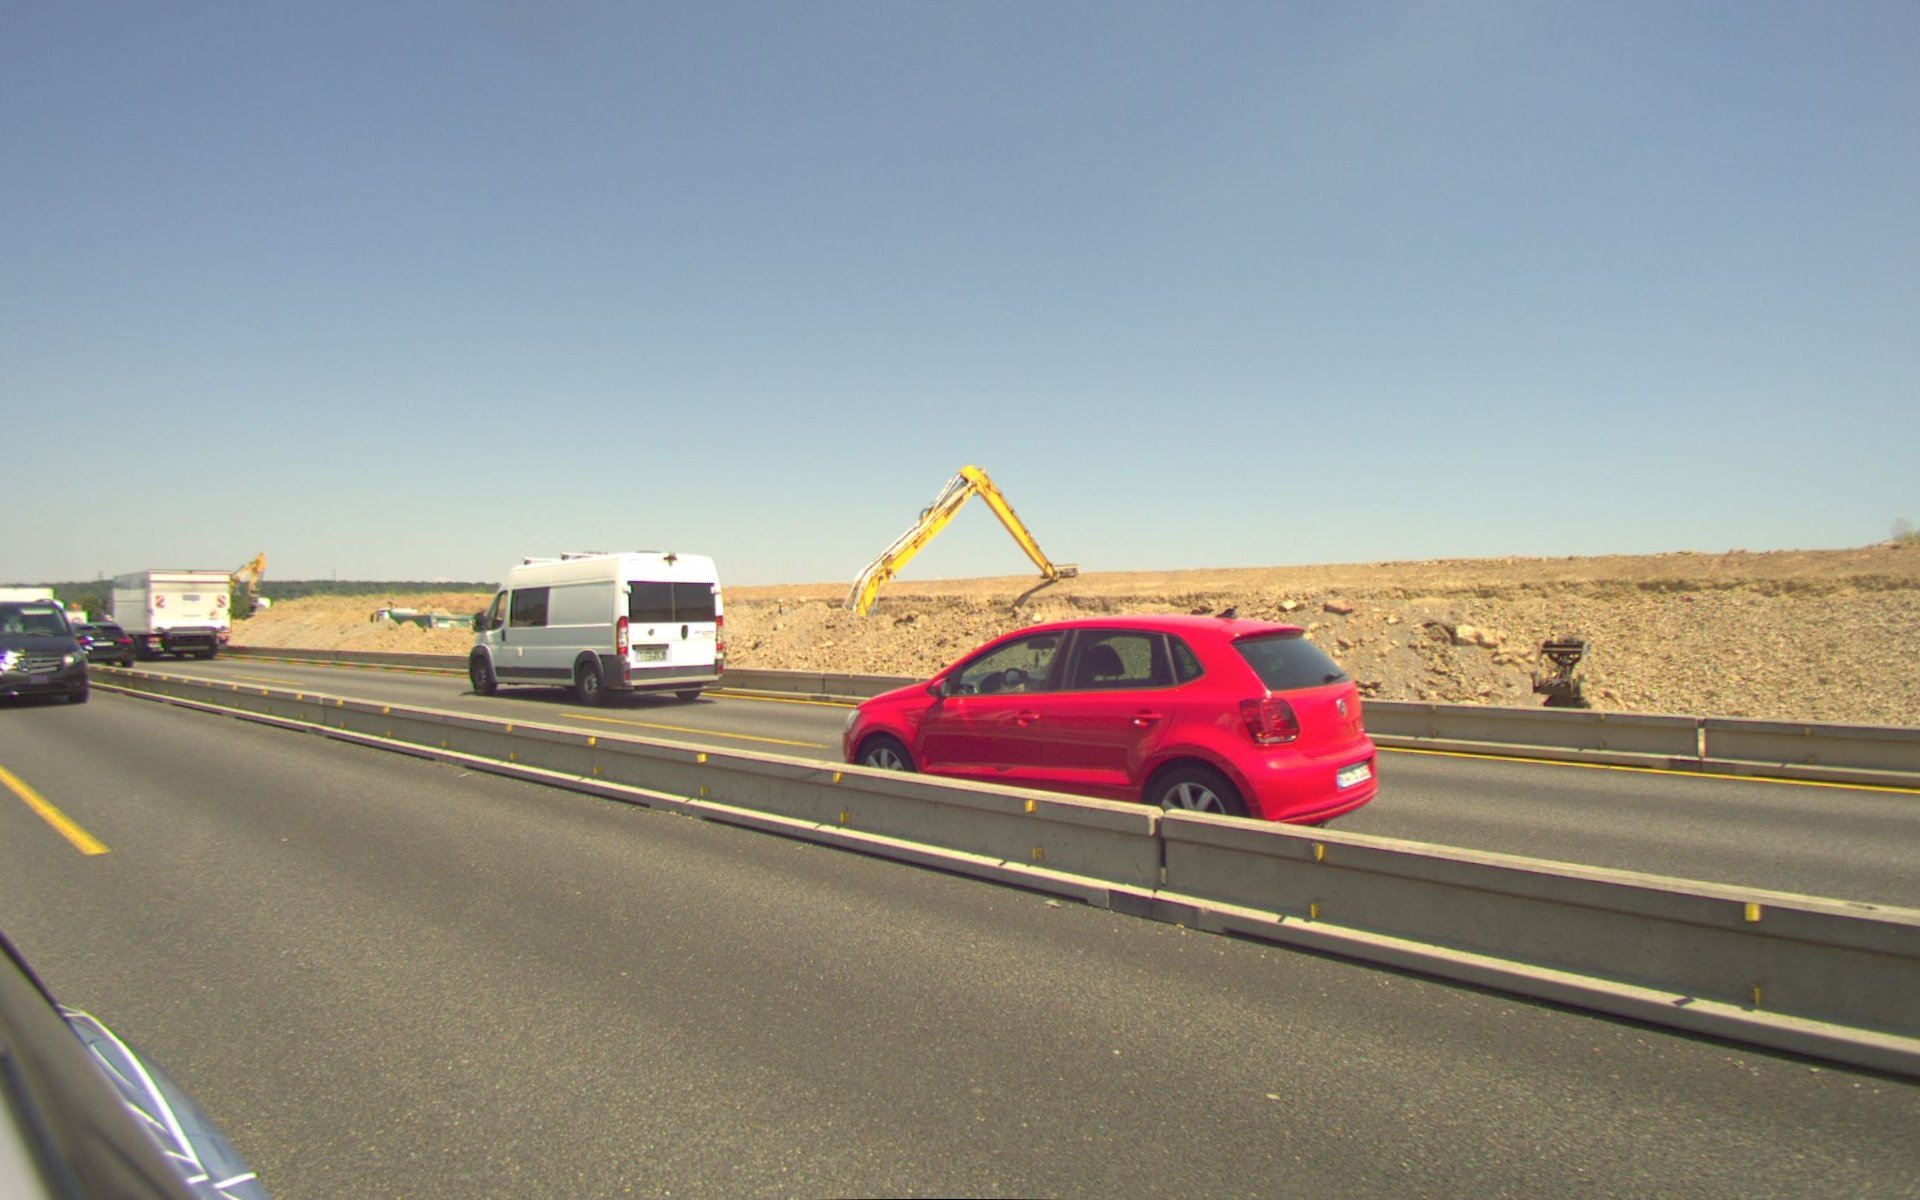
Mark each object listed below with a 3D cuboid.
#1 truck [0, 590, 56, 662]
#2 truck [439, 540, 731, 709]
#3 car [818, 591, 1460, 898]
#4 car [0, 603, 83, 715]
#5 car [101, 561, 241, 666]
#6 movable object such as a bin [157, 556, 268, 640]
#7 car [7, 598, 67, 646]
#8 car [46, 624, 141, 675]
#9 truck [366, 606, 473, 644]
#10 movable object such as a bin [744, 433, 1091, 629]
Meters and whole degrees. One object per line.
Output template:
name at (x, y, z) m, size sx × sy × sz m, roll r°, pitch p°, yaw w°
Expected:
truck at (-44.444, 1.181, 47.407) m, size 7.310 × 3.173 × 2.247 m, roll -1°, pitch 0°, yaw 41°
truck at (-6.984, 0.492, 18.348) m, size 6.349 × 2.589 × 2.077 m, roll -3°, pitch -1°, yaw 40°
car at (0.982, 0.721, 6.875) m, size 4.051 × 1.495 × 1.610 m, roll -1°, pitch 0°, yaw 41°
car at (-18.067, 1.031, 18.879) m, size 5.476 × 1.865 × 1.854 m, roll -1°, pitch 0°, yaw 41°
car at (-31.342, 0.590, 40.063) m, size 8.086 × 3.769 × 2.878 m, roll -2°, pitch -1°, yaw 41°
movable object such as a bin at (-66.489, -0.172, 90.117) m, size 4.079 × 7.167 × 7.284 m, roll -1°, pitch 0°, yaw 41°
car at (-59.588, 1.382, 65.304) m, size 5.846 × 2.978 × 2.228 m, roll -1°, pitch 0°, yaw 41°
car at (-28.451, 1.563, 33.187) m, size 4.559 × 1.493 × 1.769 m, roll -1°, pitch 0°, yaw 41°
truck at (-32.512, 1.466, 60.714) m, size 8.796 × 2.074 × 2.536 m, roll -1°, pitch 0°, yaw 40°
movable object such as a bin at (-0.833, -2.448, 43.202) m, size 3.386 × 6.823 × 18.033 m, roll -1°, pitch 0°, yaw 41°
